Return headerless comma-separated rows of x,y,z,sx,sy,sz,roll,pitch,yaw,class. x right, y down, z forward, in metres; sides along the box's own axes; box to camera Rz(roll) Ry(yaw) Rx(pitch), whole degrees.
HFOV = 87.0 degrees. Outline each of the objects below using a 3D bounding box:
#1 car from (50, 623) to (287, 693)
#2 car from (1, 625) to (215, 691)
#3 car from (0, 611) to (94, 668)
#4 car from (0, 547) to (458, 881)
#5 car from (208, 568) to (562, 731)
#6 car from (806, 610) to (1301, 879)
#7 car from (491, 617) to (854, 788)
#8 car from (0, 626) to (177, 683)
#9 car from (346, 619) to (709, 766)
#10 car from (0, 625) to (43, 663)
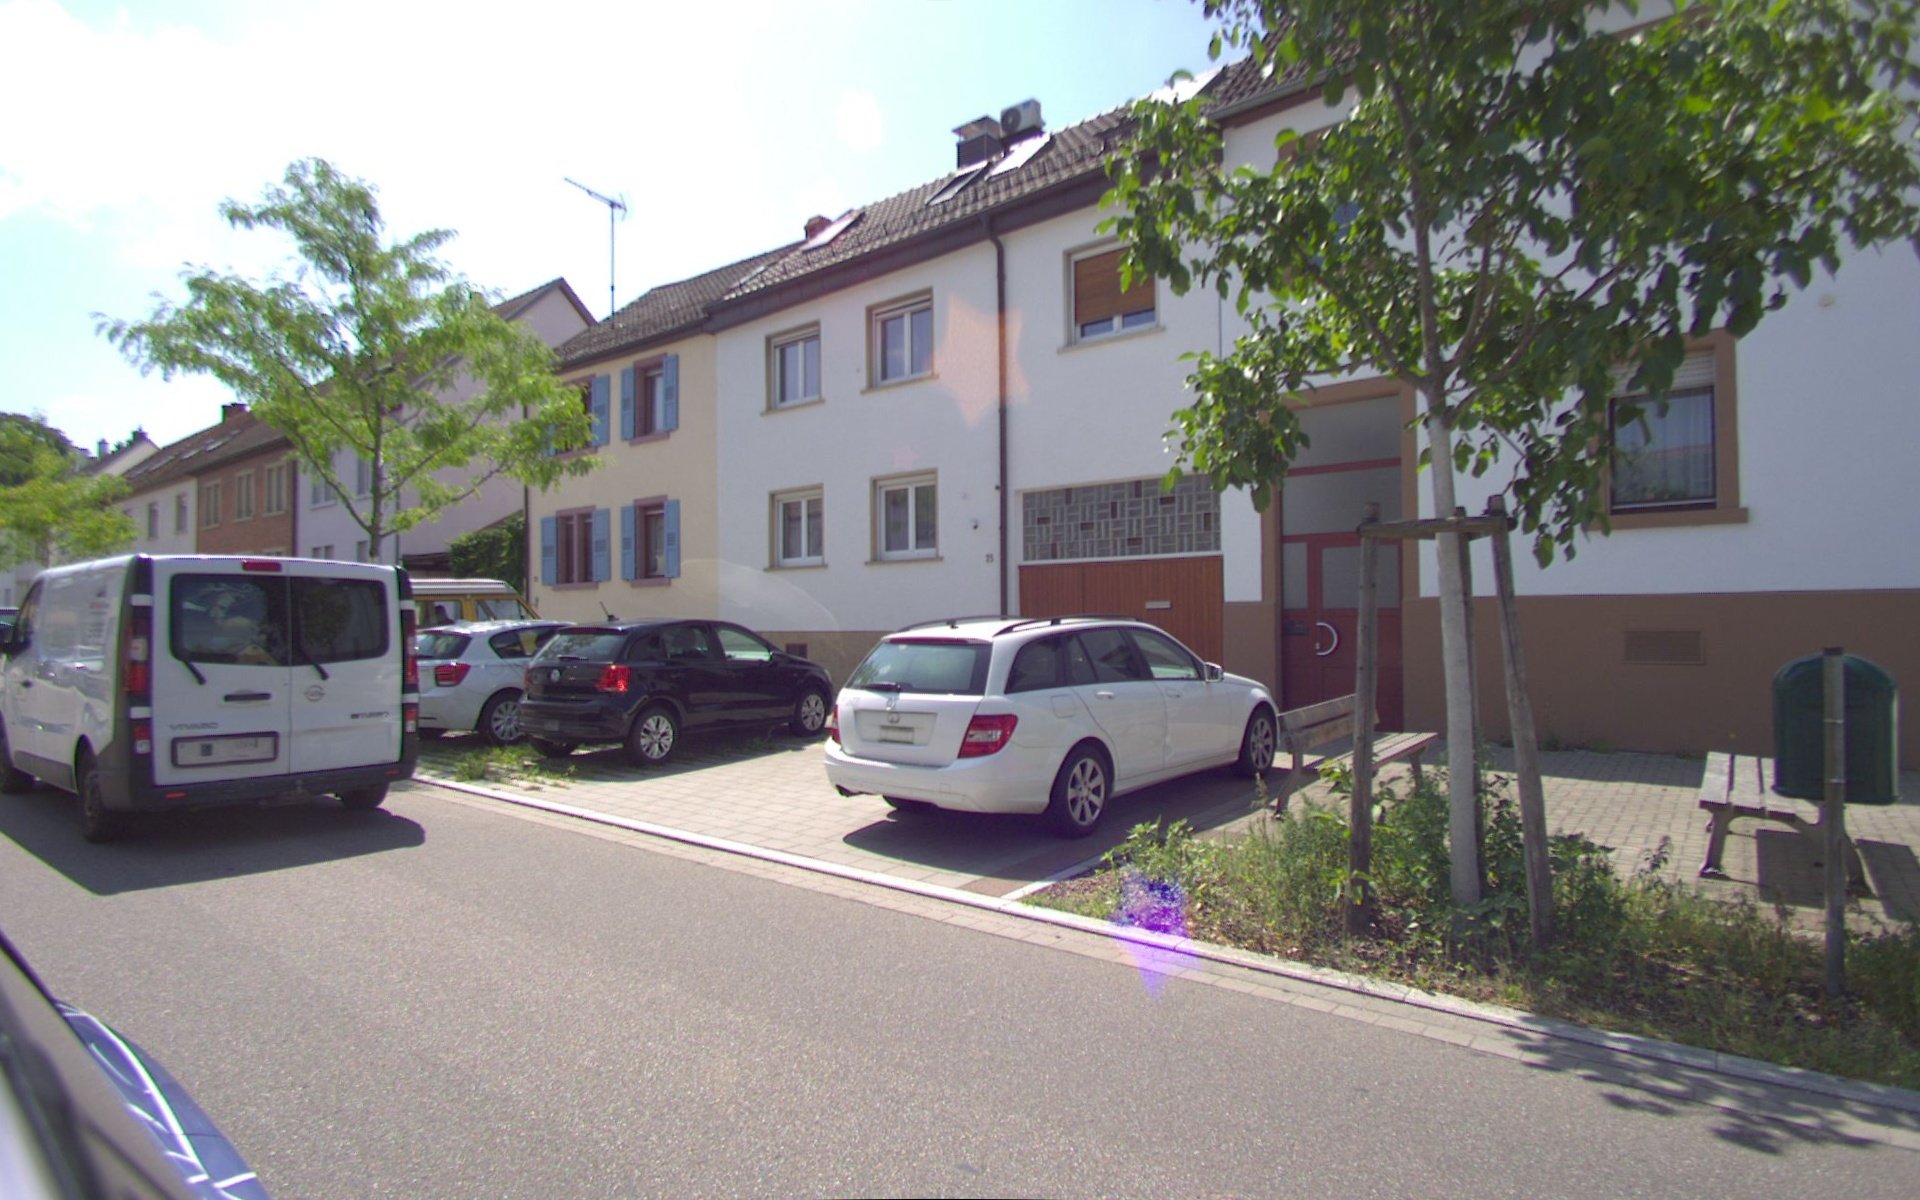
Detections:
-19.599,1.378,25.247,1.772,1.489,4.365,-1,-1,35,car
-22.267,1.465,26.583,1.772,1.489,4.017,-1,-1,36,car
-34.812,1.452,36.985,1.952,2.011,4.566,-1,-1,40,car
-6.286,0.705,8.271,4.892,1.965,2.003,-1,-1,38,car
-8.874,0.666,15.960,1.923,2.194,4.464,-1,-1,39,car
0.988,0.847,7.969,1.773,1.479,4.251,-1,0,40,car
-2.989,0.968,11.301,1.653,1.479,3.851,-1,0,30,car
-25.445,1.509,28.982,1.793,1.436,4.480,-1,-1,38,car
-5.297,1.030,12.944,1.747,1.479,4.043,-1,0,30,car
-40.432,1.834,41.603,1.771,1.500,3.876,-1,-1,40,car
